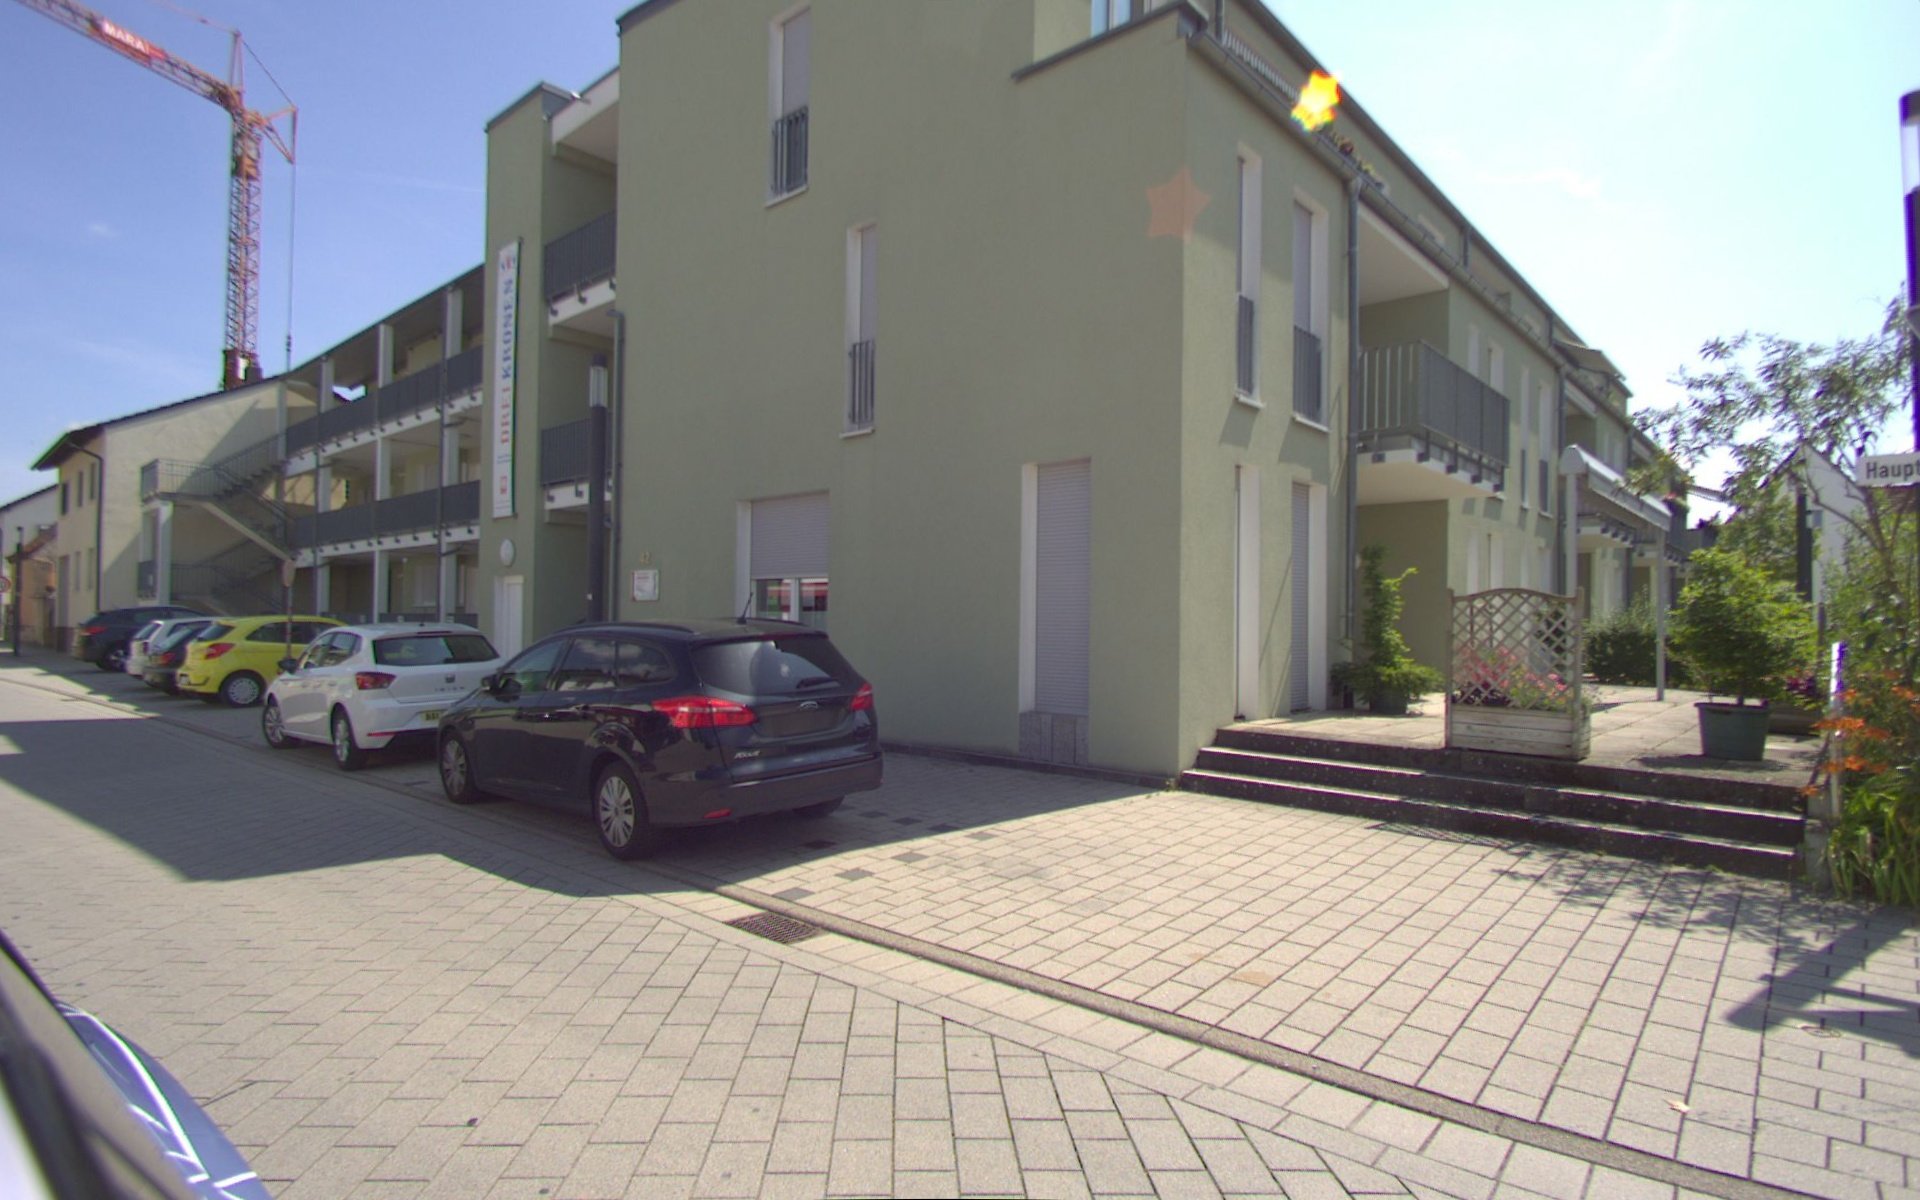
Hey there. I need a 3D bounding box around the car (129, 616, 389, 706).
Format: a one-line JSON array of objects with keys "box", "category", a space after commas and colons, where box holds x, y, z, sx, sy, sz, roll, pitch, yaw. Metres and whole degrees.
[{"box": [-13.749, 1.121, 20.018, 1.691, 1.452, 3.945, -1, 1, 42], "category": "car"}]

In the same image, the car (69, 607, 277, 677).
[{"box": [-20.963, 1.053, 27.080, 1.784, 1.671, 4.173, -1, 0, 43], "category": "car"}]

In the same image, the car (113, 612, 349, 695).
[{"box": [-15.601, 1.069, 21.793, 1.751, 1.514, 3.858, -1, 0, 43], "category": "car"}]

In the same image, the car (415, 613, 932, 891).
[{"box": [-2.368, 0.868, 7.661, 4.277, 1.502, 1.794, -1, -1, 43], "category": "car"}]

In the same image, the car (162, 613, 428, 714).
[{"box": [-11.850, 1.053, 18.214, 1.670, 1.537, 3.657, -1, 0, 38], "category": "car"}]

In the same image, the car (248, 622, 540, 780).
[{"box": [-6.461, 0.986, 11.374, 3.877, 1.421, 1.739, -1, 0, 42], "category": "car"}]
